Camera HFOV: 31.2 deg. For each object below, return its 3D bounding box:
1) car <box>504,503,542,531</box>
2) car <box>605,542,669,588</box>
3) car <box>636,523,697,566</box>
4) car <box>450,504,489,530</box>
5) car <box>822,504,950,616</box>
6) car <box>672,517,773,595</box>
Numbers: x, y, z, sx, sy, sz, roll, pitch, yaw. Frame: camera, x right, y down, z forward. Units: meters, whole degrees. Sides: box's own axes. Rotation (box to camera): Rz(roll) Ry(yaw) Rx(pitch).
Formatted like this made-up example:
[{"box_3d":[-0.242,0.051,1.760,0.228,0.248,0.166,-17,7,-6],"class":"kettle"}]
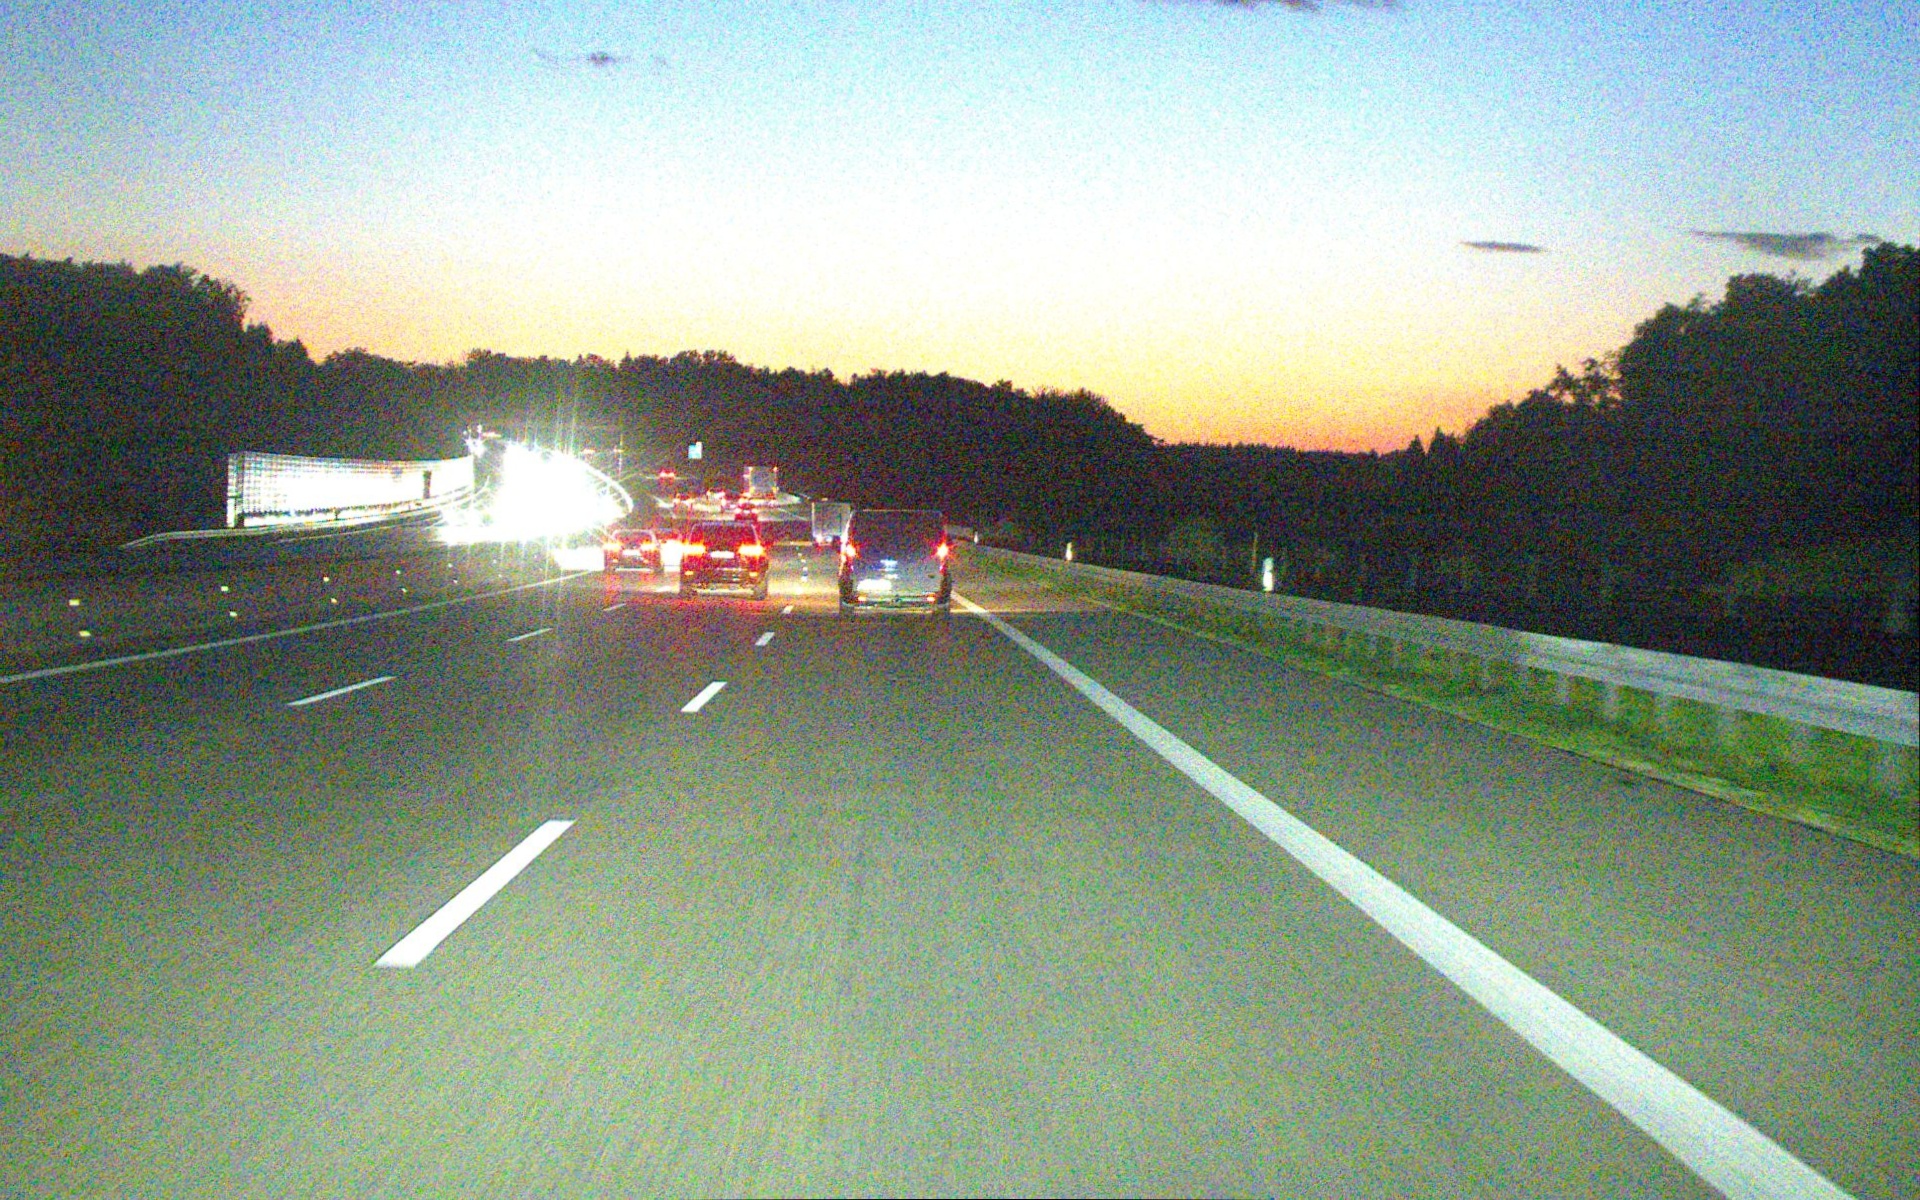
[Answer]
[{"box_3d":[-28.996,-5.490,228.315,2.104,1.783,4.660,1,1,-2],"class":"car"},{"box_3d":[-10.445,-1.130,111.404,1.549,1.426,5.514,0,1,0],"class":"car"},{"box_3d":[-10.582,-2.013,124.270,1.779,1.481,5.254,0,2,0],"class":"car"},{"box_3d":[-34.042,-5.751,238.709,2.104,1.682,5.387,1,1,-2],"class":"car"},{"box_3d":[-1.391,-0.760,62.430,2.196,1.948,4.764,0,2,-3],"class":"car"},{"box_3d":[-5.402,-0.995,78.749,1.993,1.715,5.943,0,1,-1],"class":"car"}]
